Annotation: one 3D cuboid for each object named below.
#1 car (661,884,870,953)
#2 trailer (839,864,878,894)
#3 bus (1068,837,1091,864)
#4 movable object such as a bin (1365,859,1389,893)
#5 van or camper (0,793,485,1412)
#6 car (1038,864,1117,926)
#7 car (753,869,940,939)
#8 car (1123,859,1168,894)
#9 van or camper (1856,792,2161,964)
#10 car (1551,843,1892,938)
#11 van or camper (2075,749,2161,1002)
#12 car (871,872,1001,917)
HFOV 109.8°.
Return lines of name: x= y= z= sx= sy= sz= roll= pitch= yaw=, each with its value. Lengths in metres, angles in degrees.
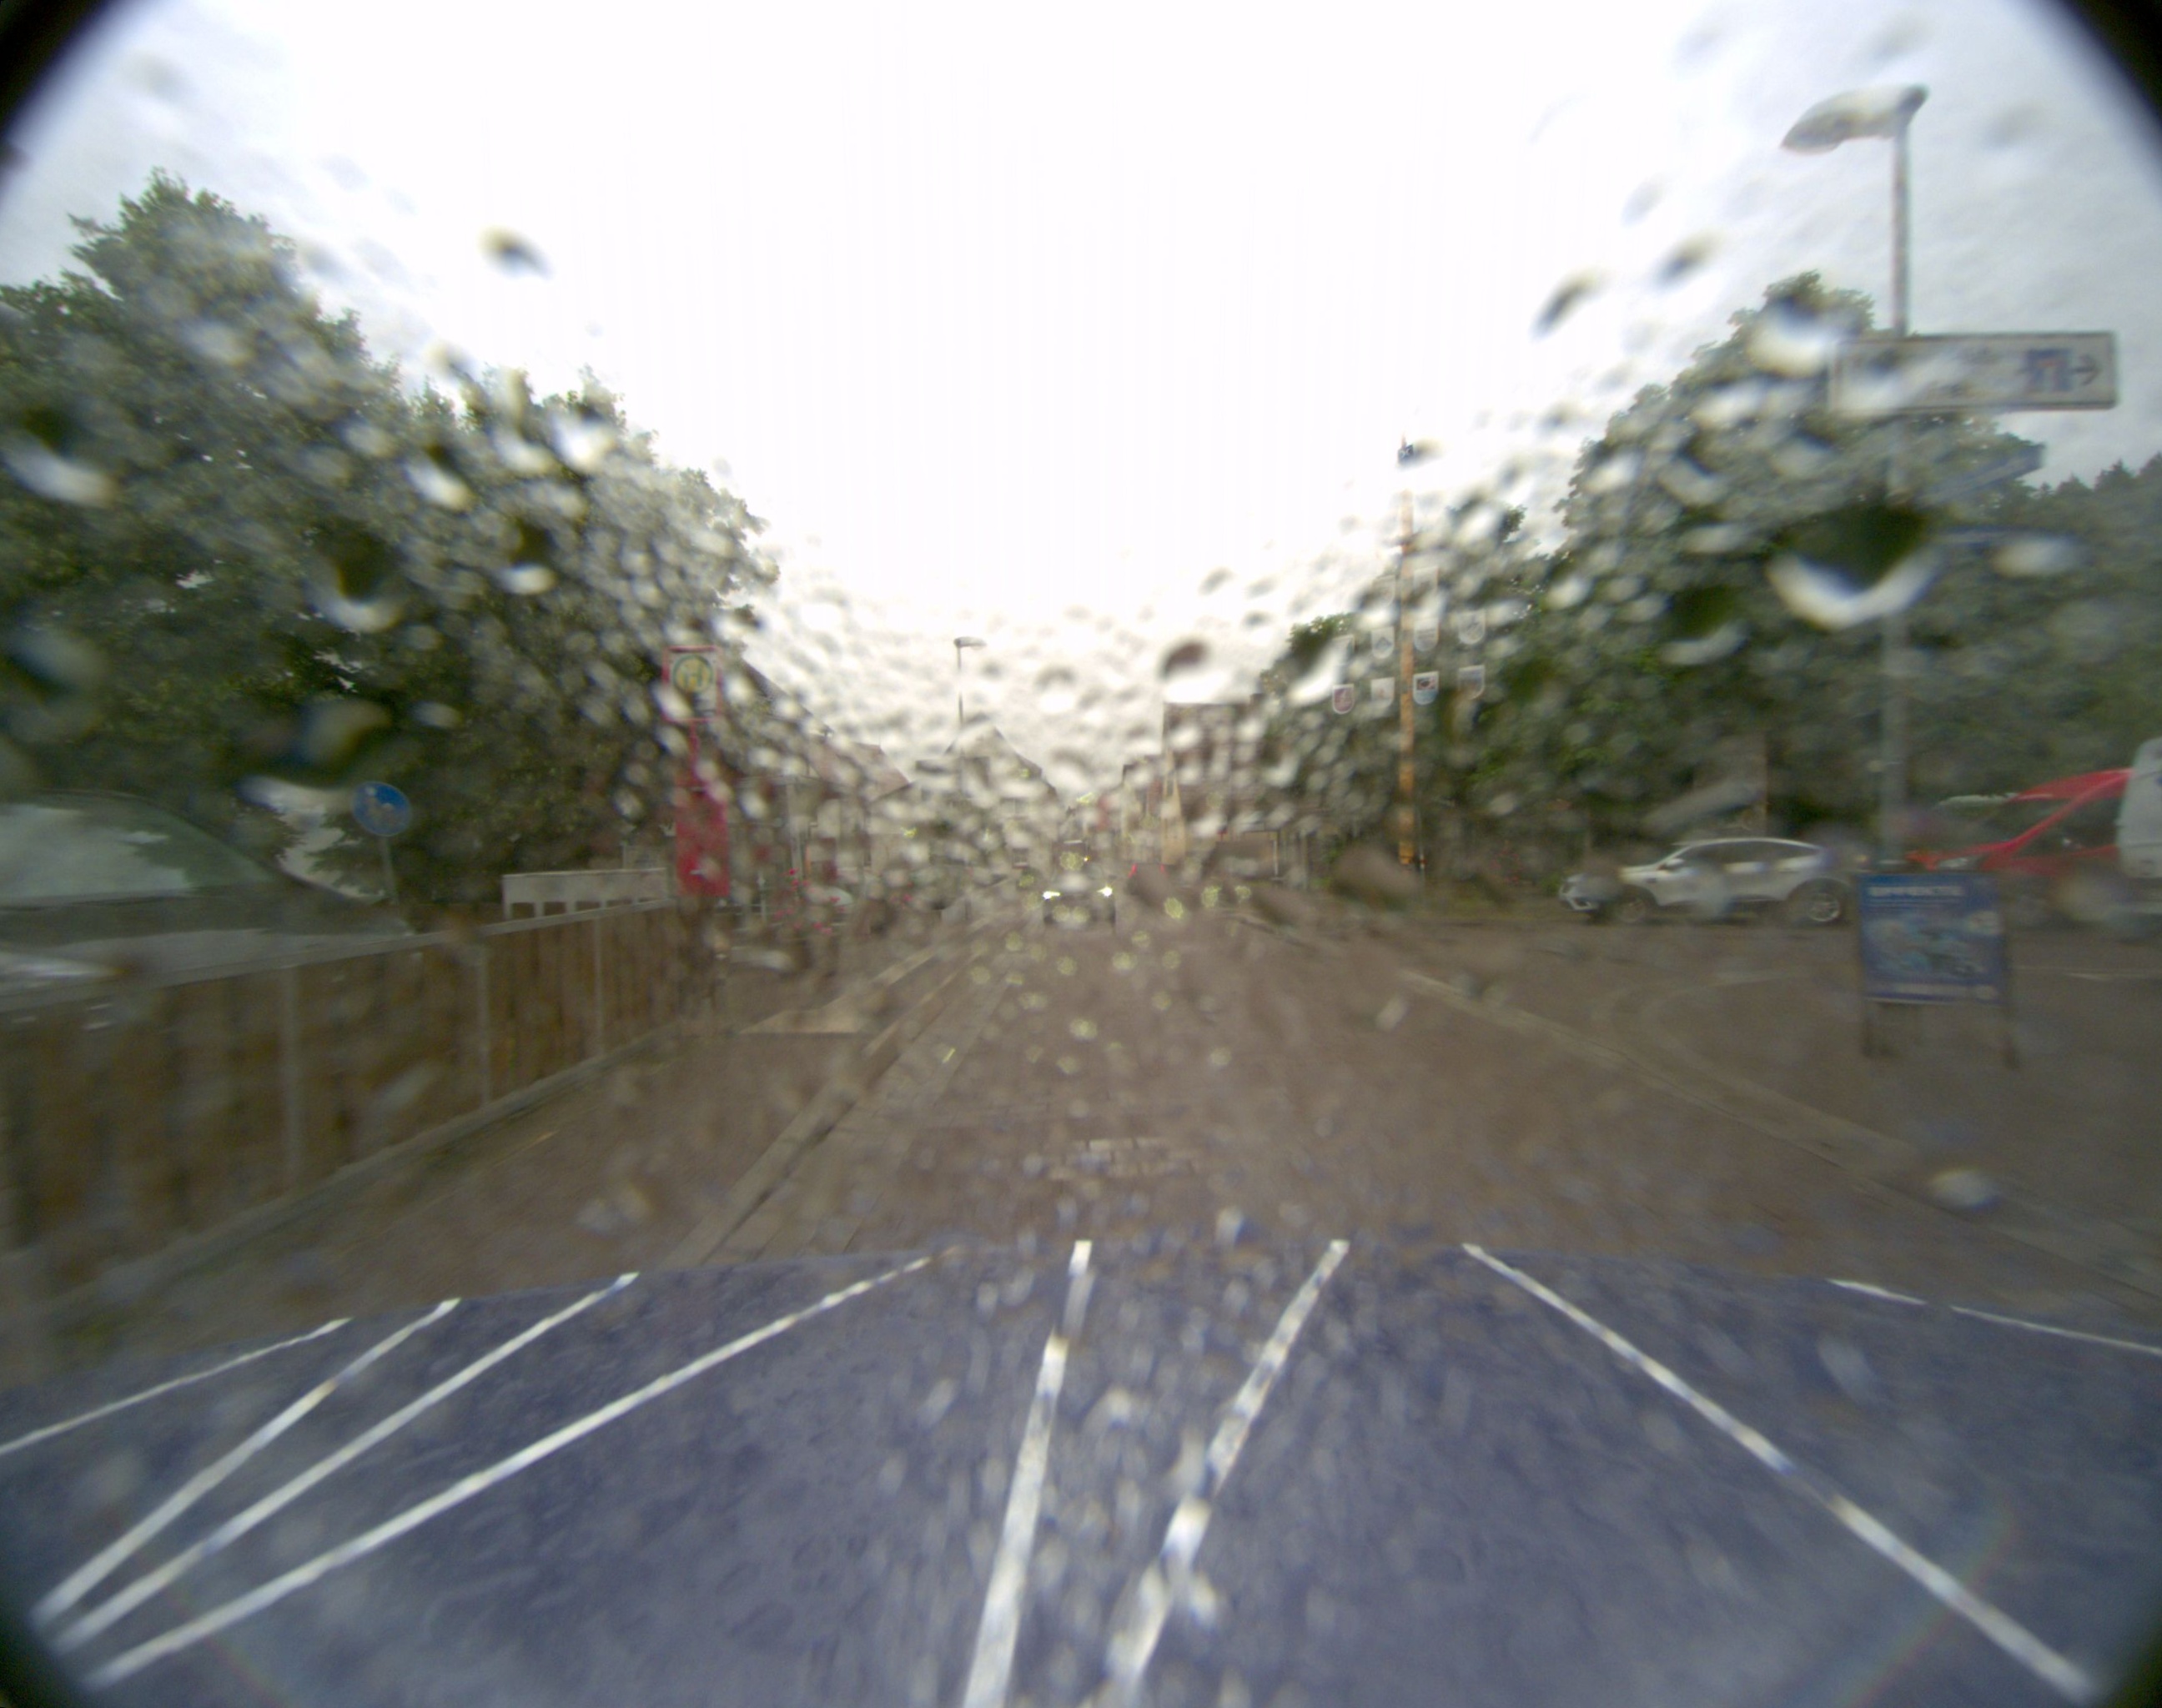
car: x=-6.970 y=1.383 z=16.953 sx=3.958 sy=1.370 sz=1.753 roll=0 pitch=0 yaw=9
trailer: x=-13.689 y=1.533 z=46.887 sx=1.572 sy=1.731 sz=2.610 roll=-2 pitch=0 yaw=0
bus: x=-0.261 y=-0.601 z=110.106 sx=2.893 sy=3.589 sz=11.975 roll=0 pitch=1 yaw=-2
movable object such as a bin: x=10.168 y=0.757 z=26.087 sx=0.563 sy=1.140 sz=0.604 roll=0 pitch=2 yaw=-2
van or camper: x=-5.854 y=0.877 z=3.169 sx=5.083 sy=1.912 sz=1.876 roll=-2 pitch=0 yaw=-3
car: x=-0.019 y=0.992 z=19.764 sx=1.800 sy=1.341 sz=3.738 roll=-3 pitch=0 yaw=2
car: x=-5.820 y=1.200 z=19.035 sx=4.074 sy=1.580 sz=1.860 roll=-1 pitch=0 yaw=15
car: x=2.892 y=1.004 z=34.980 sx=1.848 sy=1.468 sz=4.315 roll=0 pitch=-1 yaw=2
van or camper: x=16.304 y=0.321 z=11.620 sx=5.863 sy=2.459 sz=2.158 roll=-1 pitch=1 yaw=26
car: x=11.497 y=0.653 z=14.091 sx=4.450 sy=1.540 sz=1.885 roll=-2 pitch=0 yaw=21
van or camper: x=12.639 y=0.190 z=6.137 sx=5.145 sy=2.421 sz=2.216 roll=0 pitch=-1 yaw=26
car: x=-5.152 y=1.415 z=27.175 sx=4.233 sy=1.471 sz=1.697 roll=-1 pitch=0 yaw=16
